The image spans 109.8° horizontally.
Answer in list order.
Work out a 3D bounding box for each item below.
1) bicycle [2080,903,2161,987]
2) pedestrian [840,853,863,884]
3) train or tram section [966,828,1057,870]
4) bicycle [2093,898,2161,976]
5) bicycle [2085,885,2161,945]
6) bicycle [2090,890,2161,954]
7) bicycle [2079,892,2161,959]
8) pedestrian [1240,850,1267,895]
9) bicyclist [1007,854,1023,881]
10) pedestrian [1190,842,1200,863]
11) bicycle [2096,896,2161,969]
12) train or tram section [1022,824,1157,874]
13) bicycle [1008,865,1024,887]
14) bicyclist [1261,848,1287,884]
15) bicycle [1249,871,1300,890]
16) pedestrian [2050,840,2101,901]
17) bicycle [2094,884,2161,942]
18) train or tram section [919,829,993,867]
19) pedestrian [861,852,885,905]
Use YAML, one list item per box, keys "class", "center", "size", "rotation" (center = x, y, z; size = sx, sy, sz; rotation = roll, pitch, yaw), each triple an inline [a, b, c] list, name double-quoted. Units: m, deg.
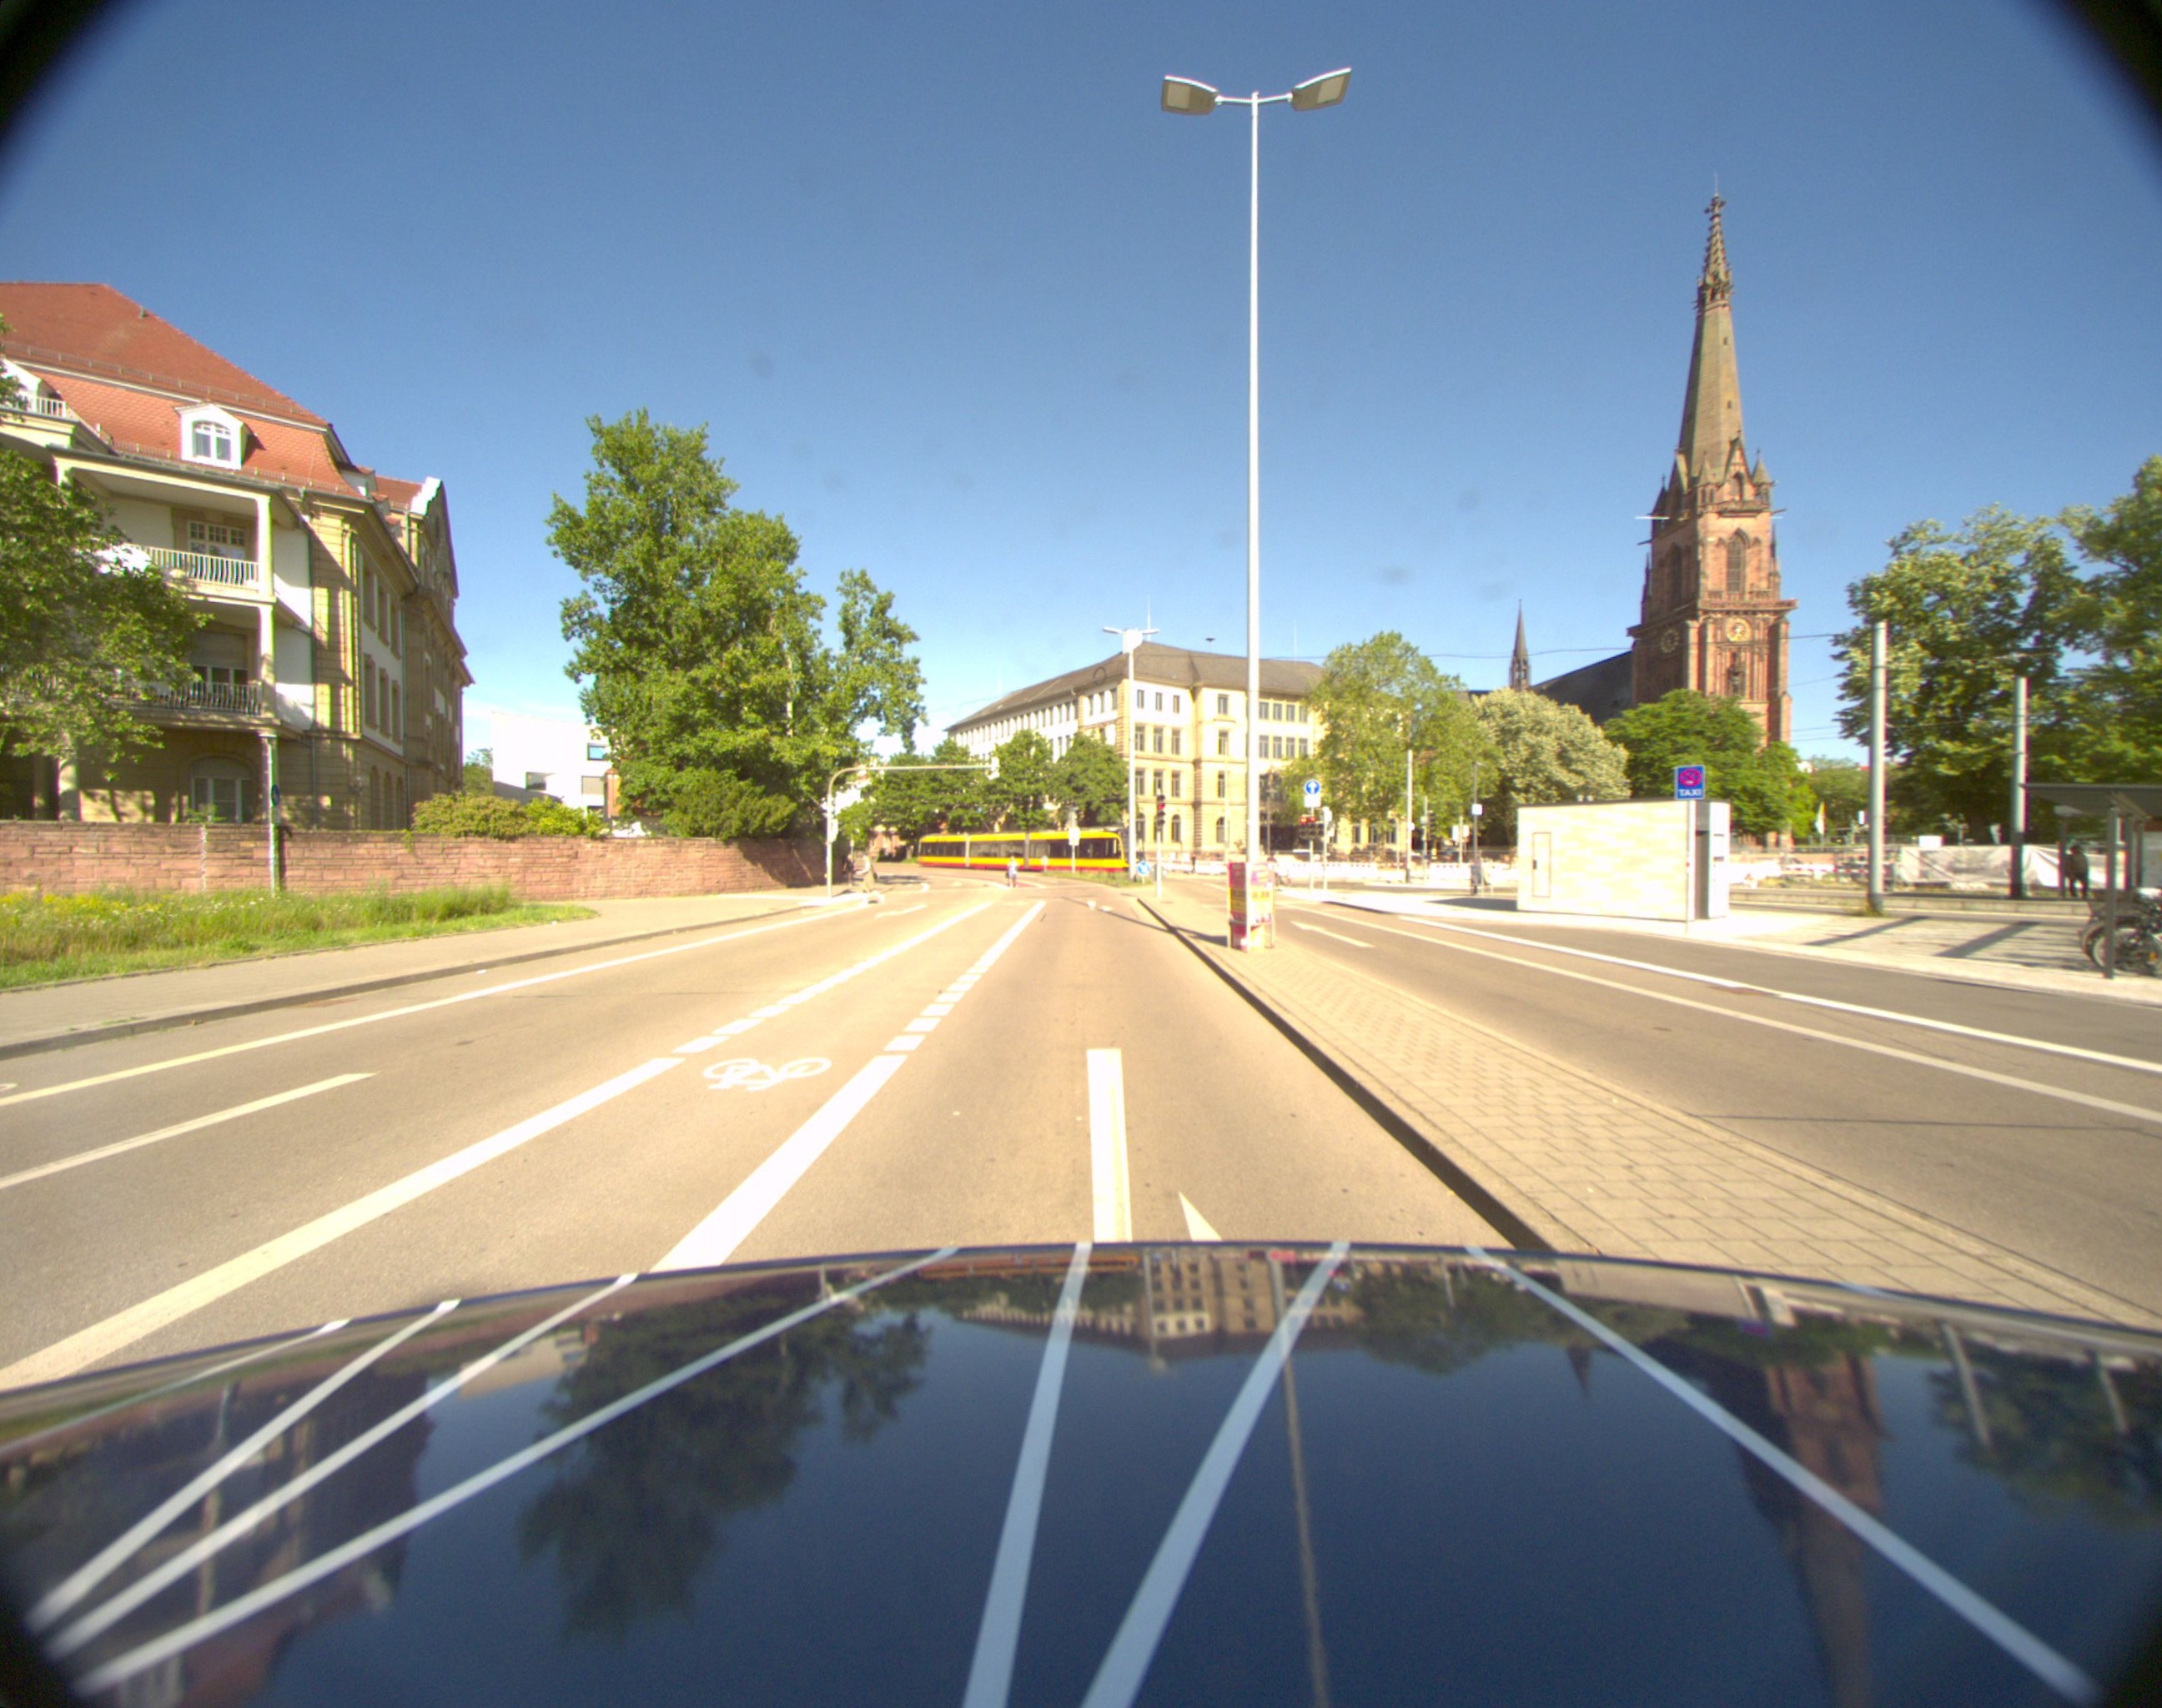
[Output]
- class: "bicycle"
  center: [13.985, 1.189, 9.545]
  size: [0.407, 0.993, 1.678]
  rotation: [-3, 3, -33]
- class: "pedestrian"
  center: [-12.095, 0.757, 40.045]
  size: [0.931, 1.657, 0.631]
  rotation: [0, 1, 6]
- class: "train or tram section"
  center: [-6.541, -0.498, 68.939]
  size: [2.947, 3.500, 11.646]
  rotation: [-1, 1, -34]
- class: "bicycle"
  center: [15.030, 1.166, 10.203]
  size: [0.407, 0.993, 1.678]
  rotation: [-3, 3, -33]
- class: "bicycle"
  center: [19.028, 1.084, 13.331]
  size: [0.407, 0.993, 1.679]
  rotation: [-3, 2, -33]
- class: "bicycle"
  center: [17.964, 1.138, 12.453]
  size: [0.407, 0.993, 1.679]
  rotation: [-3, 2, -33]
- class: "bicycle"
  center: [17.184, 1.142, 12.006]
  size: [0.407, 0.993, 1.679]
  rotation: [-3, 2, -33]
- class: "pedestrian"
  center: [6.753, 0.711, 29.828]
  size: [1.001, 1.733, 0.631]
  rotation: [0, 1, 8]
- class: "bicyclist"
  center: [-3.440, 0.711, 39.649]
  size: [0.741, 1.363, 0.626]
  rotation: [-2, 1, -6]
- class: "pedestrian"
  center: [9.450, -0.143, 63.075]
  size: [0.540, 1.710, 0.545]
  rotation: [-1, 1, -37]
- class: "bicycle"
  center: [16.128, 1.183, 10.993]
  size: [0.407, 0.993, 1.678]
  rotation: [-3, 3, -33]
- class: "train or tram section"
  center: [0.259, -0.418, 59.256]
  size: [2.947, 3.500, 13.802]
  rotation: [-1, 1, -36]
- class: "bicycle"
  center: [-3.371, 1.126, 39.213]
  size: [0.741, 0.989, 2.305]
  rotation: [-2, 1, -6]
- class: "bicyclist"
  center: [8.506, 0.505, 33.511]
  size: [0.886, 1.562, 0.740]
  rotation: [0, 1, -8]
- class: "bicycle"
  center: [8.513, 1.168, 33.530]
  size: [2.052, 0.777, 0.740]
  rotation: [0, 1, -8]
- class: "pedestrian"
  center: [30.716, 0.499, 23.479]
  size: [0.619, 1.849, 0.703]
  rotation: [0, 1, 11]
- class: "bicycle"
  center: [19.513, 1.065, 13.573]
  size: [0.407, 0.993, 1.679]
  rotation: [-3, 2, -33]
- class: "train or tram section"
  center: [-13.114, -0.632, 78.616]
  size: [2.947, 3.662, 11.646]
  rotation: [-1, 1, -34]
- class: "pedestrian"
  center: [-7.381, 0.842, 26.910]
  size: [0.631, 1.847, 0.785]
  rotation: [-1, 1, -29]
